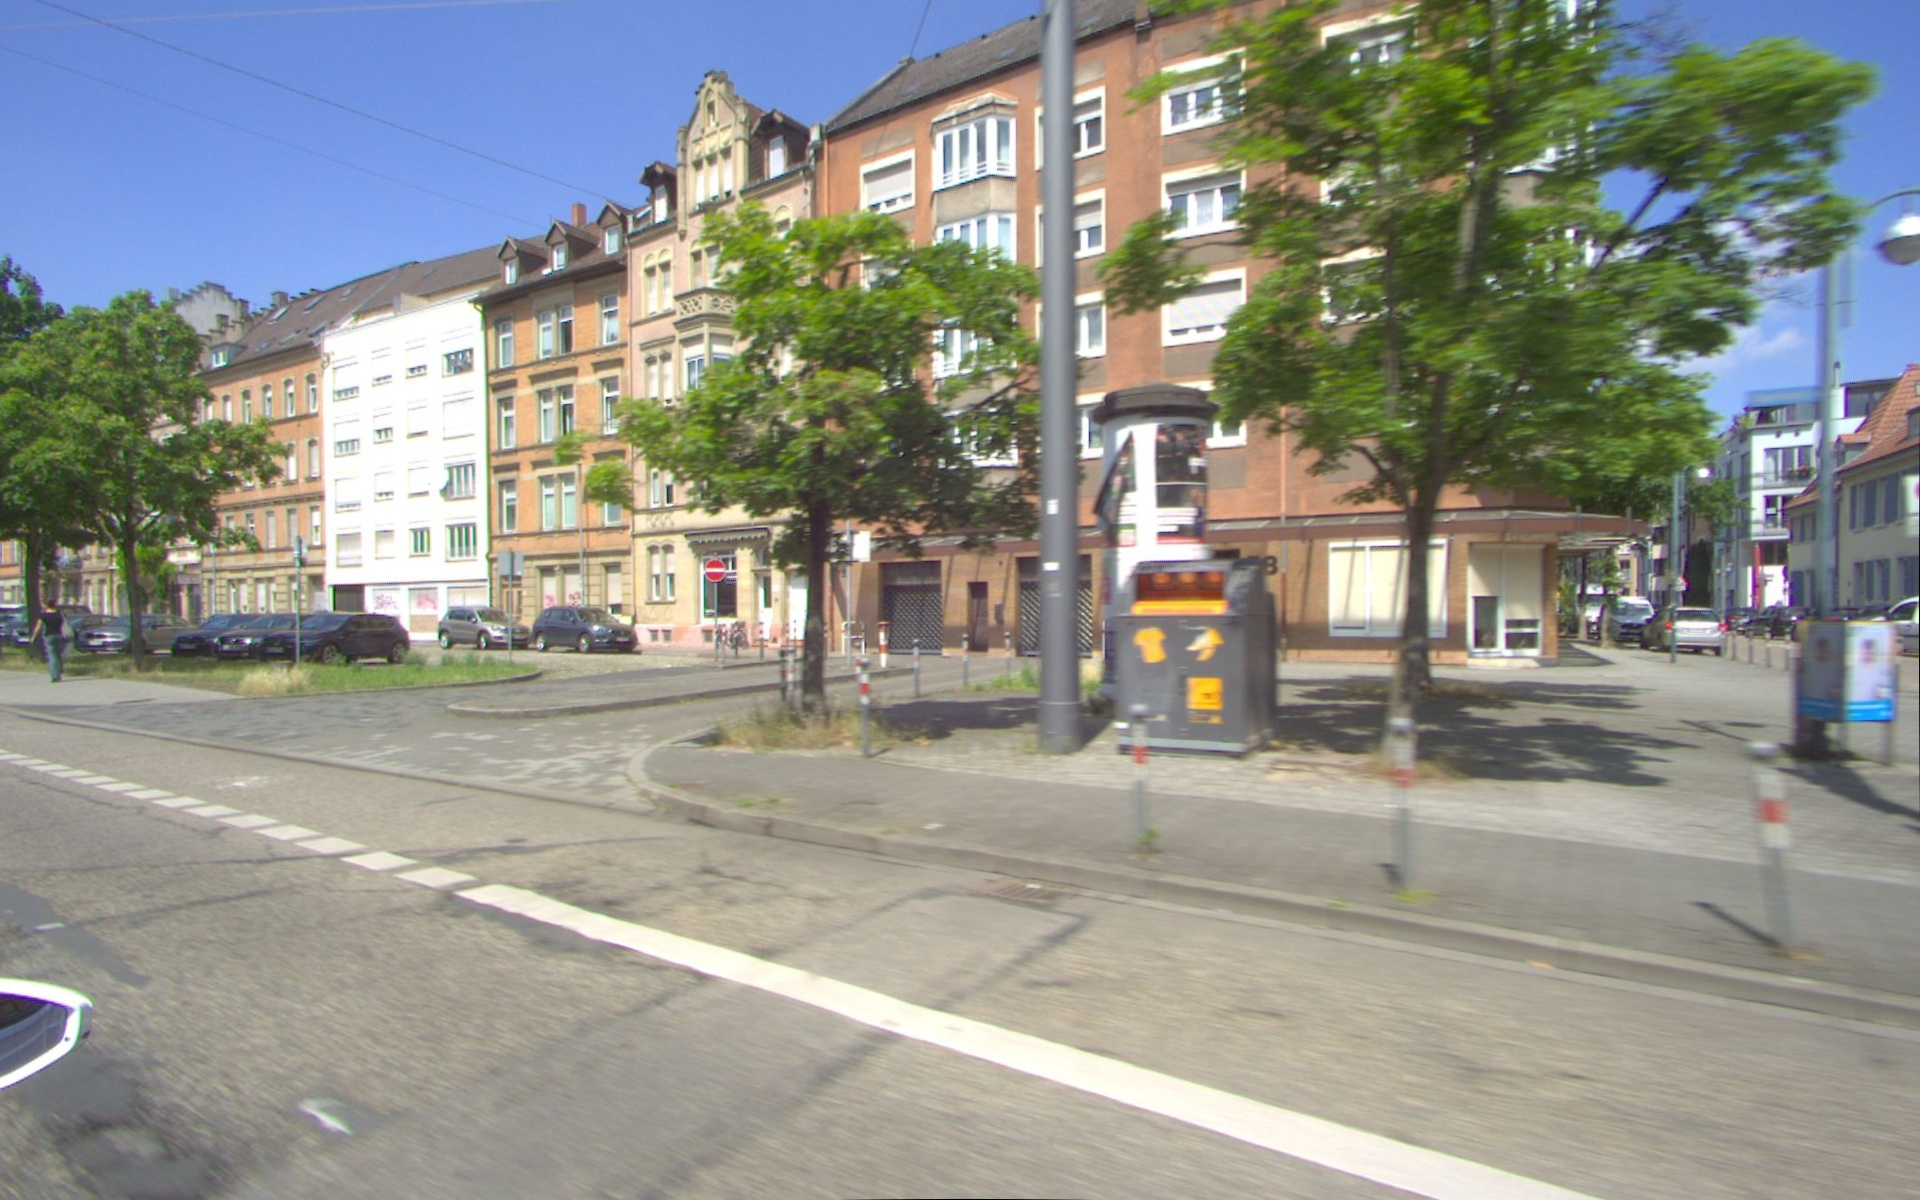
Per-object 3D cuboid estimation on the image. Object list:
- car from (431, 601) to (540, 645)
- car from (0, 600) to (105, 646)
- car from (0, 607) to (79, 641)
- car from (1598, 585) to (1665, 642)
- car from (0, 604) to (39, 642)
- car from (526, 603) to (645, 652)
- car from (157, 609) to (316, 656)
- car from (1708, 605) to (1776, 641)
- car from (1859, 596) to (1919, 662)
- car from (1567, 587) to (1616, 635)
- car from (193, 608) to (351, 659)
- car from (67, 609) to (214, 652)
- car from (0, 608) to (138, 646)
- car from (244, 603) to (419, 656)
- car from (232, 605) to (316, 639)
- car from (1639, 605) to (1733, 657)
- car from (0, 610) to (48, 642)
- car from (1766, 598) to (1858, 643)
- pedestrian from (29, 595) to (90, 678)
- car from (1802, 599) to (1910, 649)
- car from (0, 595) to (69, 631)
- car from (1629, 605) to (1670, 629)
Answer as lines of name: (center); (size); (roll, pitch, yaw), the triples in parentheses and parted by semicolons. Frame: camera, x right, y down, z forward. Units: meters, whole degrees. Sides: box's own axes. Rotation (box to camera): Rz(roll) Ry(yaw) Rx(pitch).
car: (-18.662, 0.934, 39.303); (4.432, 1.636, 1.828); (-1, -2, 33)
car: (-37.374, 0.965, 40.598); (1.816, 1.763, 4.367); (0, -2, -3)
car: (-40.480, 1.031, 42.674); (1.816, 1.398, 4.695); (0, -2, -1)
car: (27.978, 0.614, 41.872); (1.839, 2.214, 4.790); (-1, -2, 28)
car: (-45.551, 1.081, 46.389); (1.816, 1.763, 4.152); (0, -2, 2)
car: (-13.404, 0.992, 35.734); (4.436, 1.636, 1.827); (-1, -2, 36)
car: (-22.647, 1.026, 31.543); (1.923, 1.398, 4.001); (0, -2, 5)
car: (39.198, 1.186, 50.295); (1.969, 1.717, 3.986); (-1, -2, 27)
car: (27.759, 0.802, 28.145); (1.903, 1.847, 3.998); (0, 0, 11)
car: (32.795, 0.625, 52.101); (1.839, 2.387, 4.790); (-1, -2, 28)
car: (-20.293, 1.000, 29.773); (1.923, 1.398, 4.002); (0, -2, 0)
car: (-28.730, 1.075, 35.295); (1.816, 1.398, 4.270); (0, -2, -3)
car: (-34.105, 1.045, 38.376); (1.816, 1.398, 4.270); (0, -2, -3)
car: (-17.268, 0.822, 27.756); (1.924, 1.371, 4.000); (0, -2, 10)
car: (-32.493, 1.053, 47.416); (4.168, 1.511, 1.828); (-1, -2, 33)
car: (22.645, 0.976, 31.374); (1.839, 1.517, 3.985); (-1, -2, 28)
car: (-43.154, 1.166, 44.378); (1.816, 1.423, 4.087); (0, -2, -2)
car: (34.336, 0.859, 40.493); (1.969, 1.717, 3.986); (-1, -2, 27)
pedestrian: (-19.195, 0.781, 21.338); (1.030, 1.726, 0.699); (-1, -1, 32)
car: (32.582, 0.908, 36.552); (1.969, 1.717, 3.986); (-1, -2, 27)
car: (-59.987, 0.885, 64.849); (5.318, 2.206, 2.107); (-1, -2, 33)
car: (51.062, 1.316, 74.217); (1.969, 1.717, 4.218); (-1, -2, 27)
